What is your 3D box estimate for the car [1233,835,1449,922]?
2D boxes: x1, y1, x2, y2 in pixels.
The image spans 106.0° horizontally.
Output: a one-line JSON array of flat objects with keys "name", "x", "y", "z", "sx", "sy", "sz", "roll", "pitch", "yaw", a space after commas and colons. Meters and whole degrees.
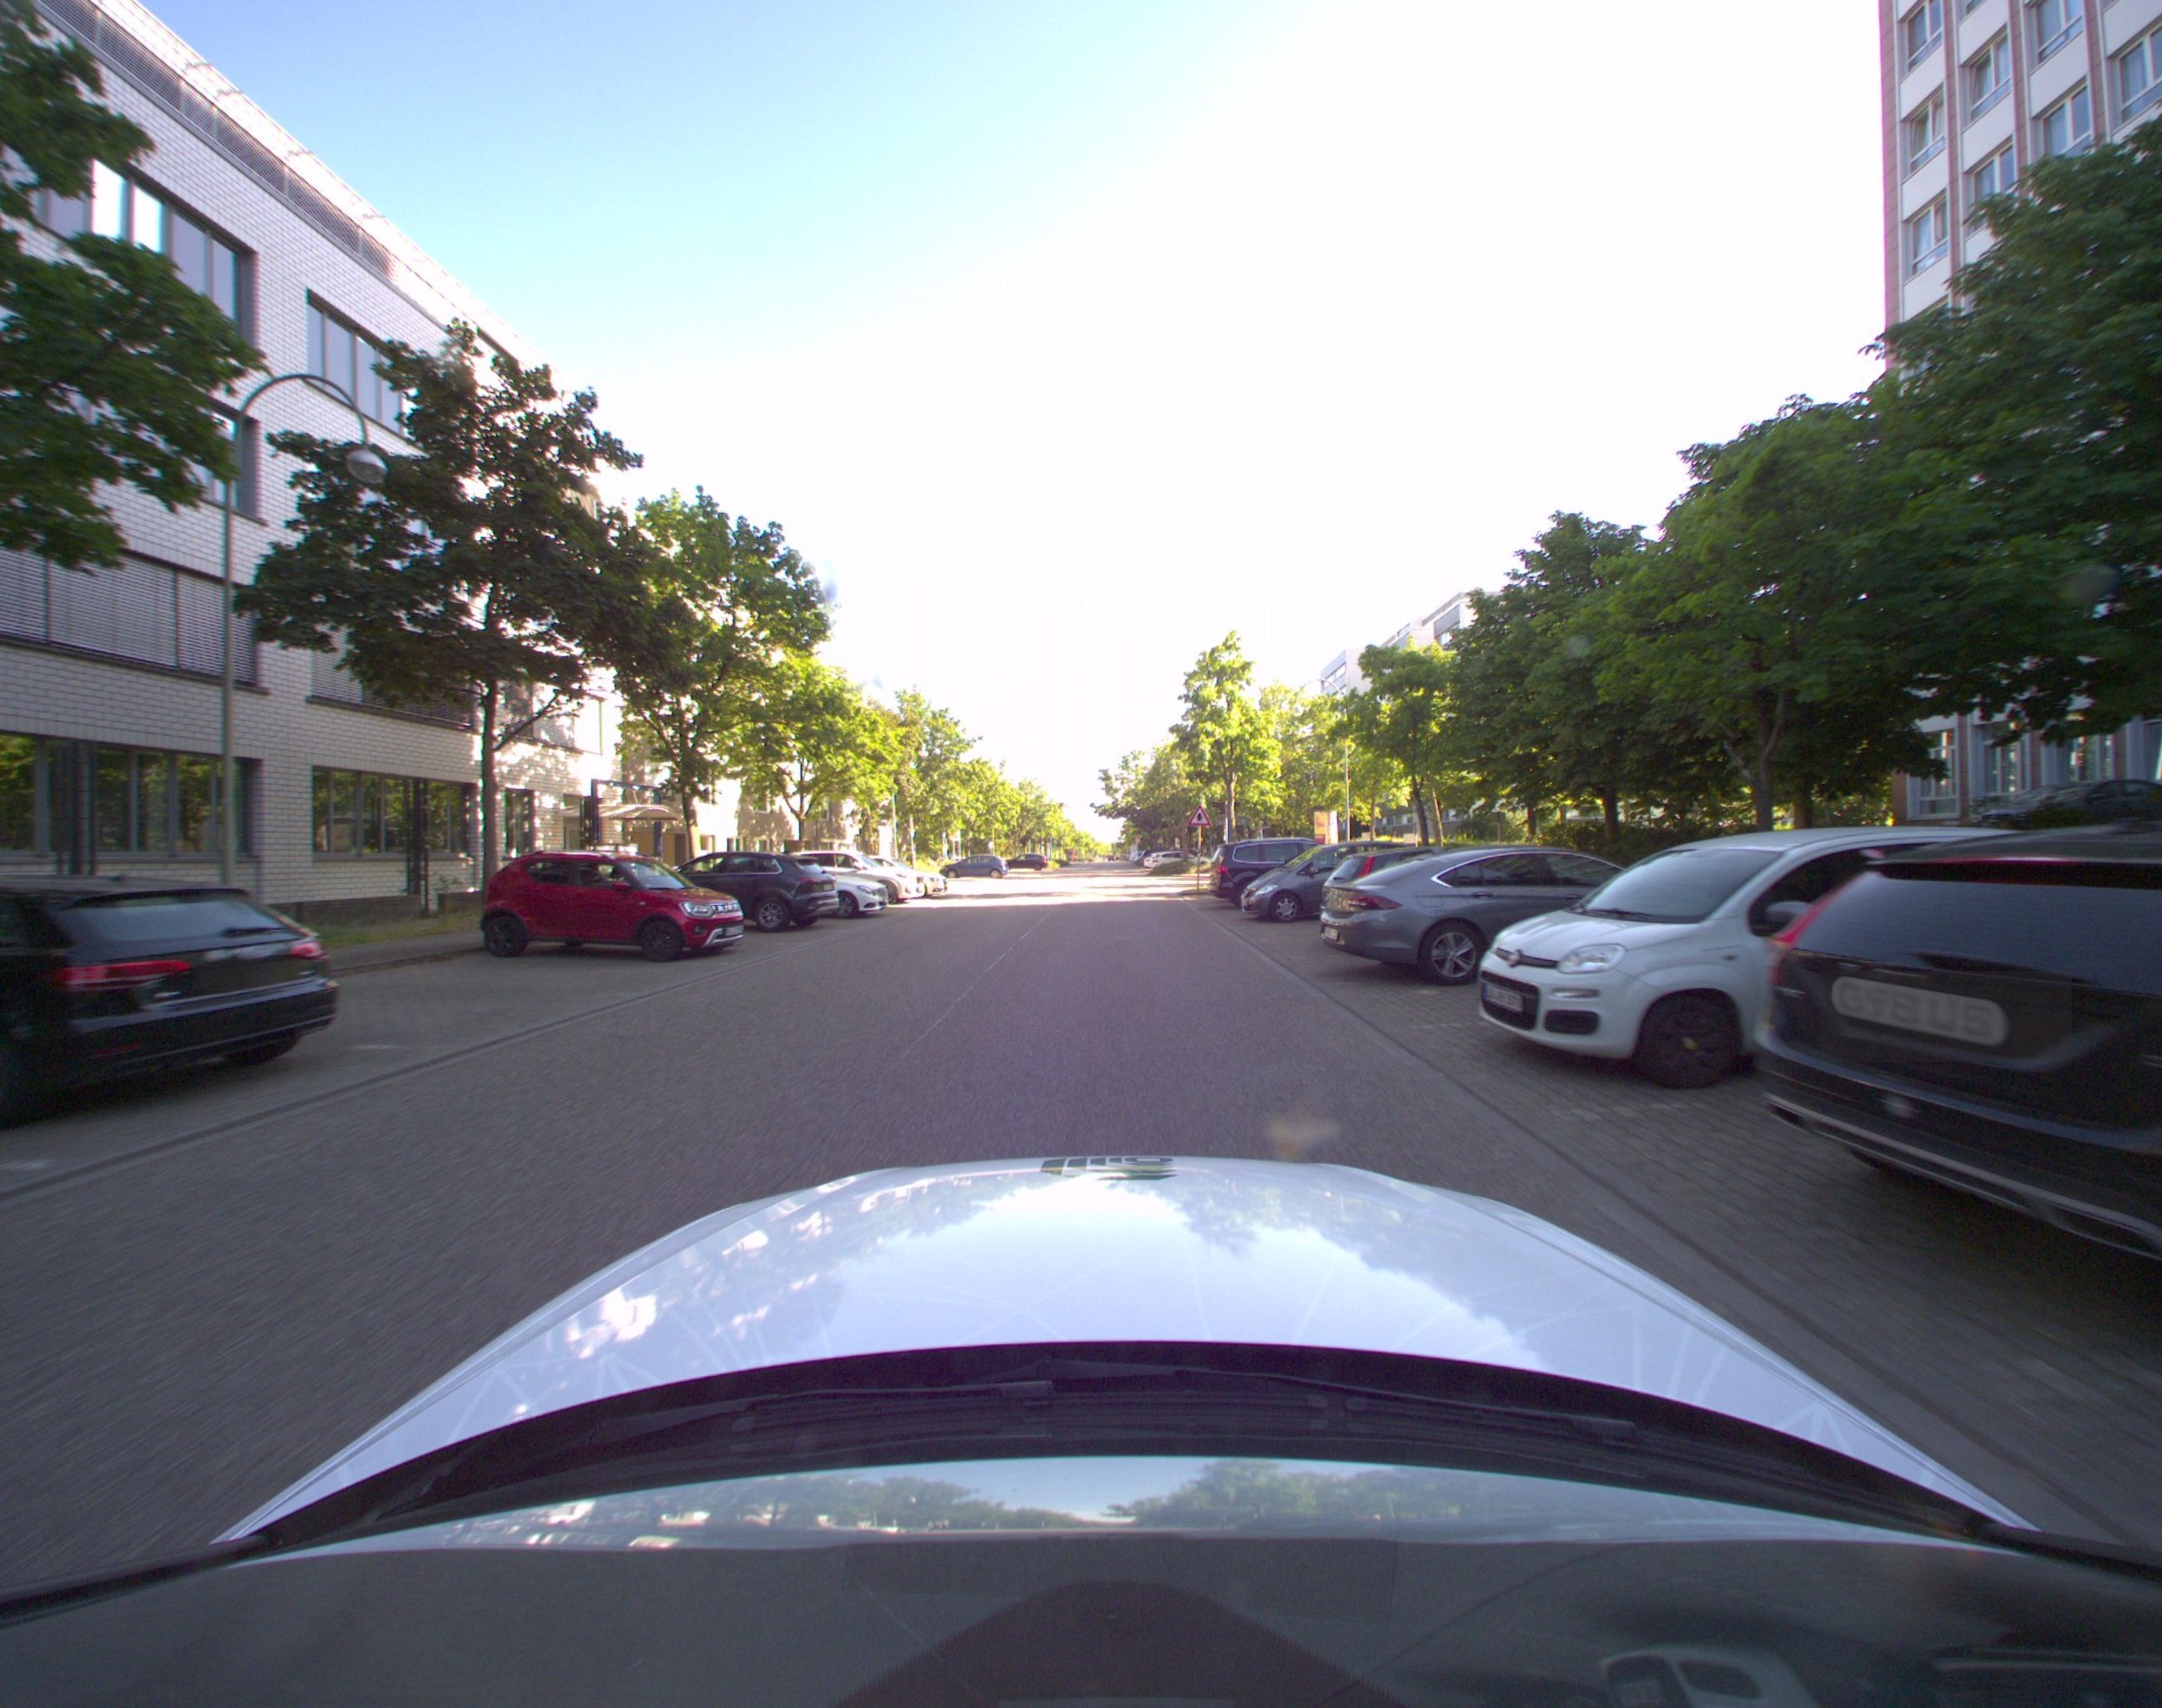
[{"name": "car", "x": 5.412, "y": 0.486, "z": 17.275, "sx": 4.032, "sy": 1.582, "sz": 1.640, "roll": -3, "pitch": 0, "yaw": -1}]

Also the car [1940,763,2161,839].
[{"name": "car", "x": 23.826, "y": -1.218, "z": 19.621, "sx": 4.289, "sy": 1.672, "sz": 1.998, "roll": 0, "pitch": 0, "yaw": -2}]

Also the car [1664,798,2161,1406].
[{"name": "car", "x": 4.871, "y": 0.536, "z": 2.906, "sx": 4.239, "sy": 1.554, "sz": 1.918, "roll": -4, "pitch": 0, "yaw": -3}]

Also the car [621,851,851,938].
[{"name": "car", "x": -7.067, "y": 0.810, "z": 16.908, "sx": 3.968, "sy": 1.586, "sz": 1.767, "roll": -2, "pitch": -1, "yaw": 4}]

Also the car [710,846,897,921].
[{"name": "car", "x": -6.760, "y": 0.693, "z": 20.121, "sx": 3.973, "sy": 1.719, "sz": 1.709, "roll": -1, "pitch": 0, "yaw": 0}]

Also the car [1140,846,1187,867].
[{"name": "car", "x": 7.437, "y": 0.256, "z": 74.010, "sx": 3.978, "sy": 1.792, "sz": 1.998, "roll": -1, "pitch": 0, "yaw": -3}]

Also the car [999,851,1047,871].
[{"name": "car", "x": -5.082, "y": 0.599, "z": 71.728, "sx": 3.971, "sy": 1.684, "sz": 2.001, "roll": -2, "pitch": 0, "yaw": 2}]

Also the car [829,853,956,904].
[{"name": "car", "x": -6.445, "y": 0.825, "z": 28.134, "sx": 3.879, "sy": 1.612, "sz": 1.858, "roll": -1, "pitch": 0, "yaw": 1}]

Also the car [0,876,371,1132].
[{"name": "car", "x": -7.474, "y": 0.878, "z": 5.448, "sx": 3.974, "sy": 1.406, "sz": 1.605, "roll": 0, "pitch": 0, "yaw": -1}]

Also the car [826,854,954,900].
[{"name": "car", "x": -6.549, "y": 0.778, "z": 28.166, "sx": 3.974, "sy": 1.481, "sz": 1.679, "roll": -1, "pitch": -1, "yaw": 0}]

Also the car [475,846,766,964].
[{"name": "car", "x": -7.073, "y": 0.754, "z": 12.747, "sx": 3.525, "sy": 1.657, "sz": 1.763, "roll": -1, "pitch": -1, "yaw": 3}]

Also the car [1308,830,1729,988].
[{"name": "car", "x": 4.883, "y": 0.581, "z": 9.438, "sx": 4.032, "sy": 1.491, "sz": 1.549, "roll": -3, "pitch": 0, "yaw": -1}]

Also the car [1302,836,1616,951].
[{"name": "car", "x": 5.605, "y": 0.554, "z": 12.364, "sx": 4.032, "sy": 1.454, "sz": 1.519, "roll": -3, "pitch": 0, "yaw": -1}]

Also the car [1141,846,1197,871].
[{"name": "car", "x": 6.639, "y": 0.303, "z": 61.828, "sx": 3.978, "sy": 1.792, "sz": 1.998, "roll": -1, "pitch": 0, "yaw": -3}]

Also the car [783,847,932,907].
[{"name": "car", "x": -6.852, "y": 0.681, "z": 25.177, "sx": 3.969, "sy": 1.654, "sz": 1.863, "roll": -2, "pitch": 0, "yaw": 4}]

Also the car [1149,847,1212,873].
[{"name": "car", "x": 6.791, "y": 0.393, "z": 55.726, "sx": 3.978, "sy": 1.624, "sz": 1.998, "roll": -1, "pitch": 0, "yaw": -3}]

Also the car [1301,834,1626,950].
[{"name": "car", "x": 5.579, "y": 0.525, "z": 12.210, "sx": 4.034, "sy": 1.421, "sz": 1.735, "roll": -3, "pitch": 0, "yaw": -2}]

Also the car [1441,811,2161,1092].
[{"name": "car", "x": 4.908, "y": 0.564, "z": 5.812, "sx": 4.038, "sy": 1.591, "sz": 1.547, "roll": -1, "pitch": 0, "yaw": -6}]

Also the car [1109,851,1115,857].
[{"name": "car", "x": 9.346, "y": 0.031, "z": 246.323, "sx": 1.926, "sy": 1.597, "sz": 4.368, "roll": -2, "pitch": 0, "yaw": 2}]

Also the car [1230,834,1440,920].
[{"name": "car", "x": 5.303, "y": 0.451, "z": 17.356, "sx": 3.882, "sy": 1.656, "sz": 1.857, "roll": -1, "pitch": 0, "yaw": -2}]

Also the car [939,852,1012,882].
[{"name": "car", "x": -6.082, "y": 0.738, "z": 47.118, "sx": 3.977, "sy": 1.533, "sz": 1.616, "roll": -2, "pitch": 1, "yaw": -3}]
